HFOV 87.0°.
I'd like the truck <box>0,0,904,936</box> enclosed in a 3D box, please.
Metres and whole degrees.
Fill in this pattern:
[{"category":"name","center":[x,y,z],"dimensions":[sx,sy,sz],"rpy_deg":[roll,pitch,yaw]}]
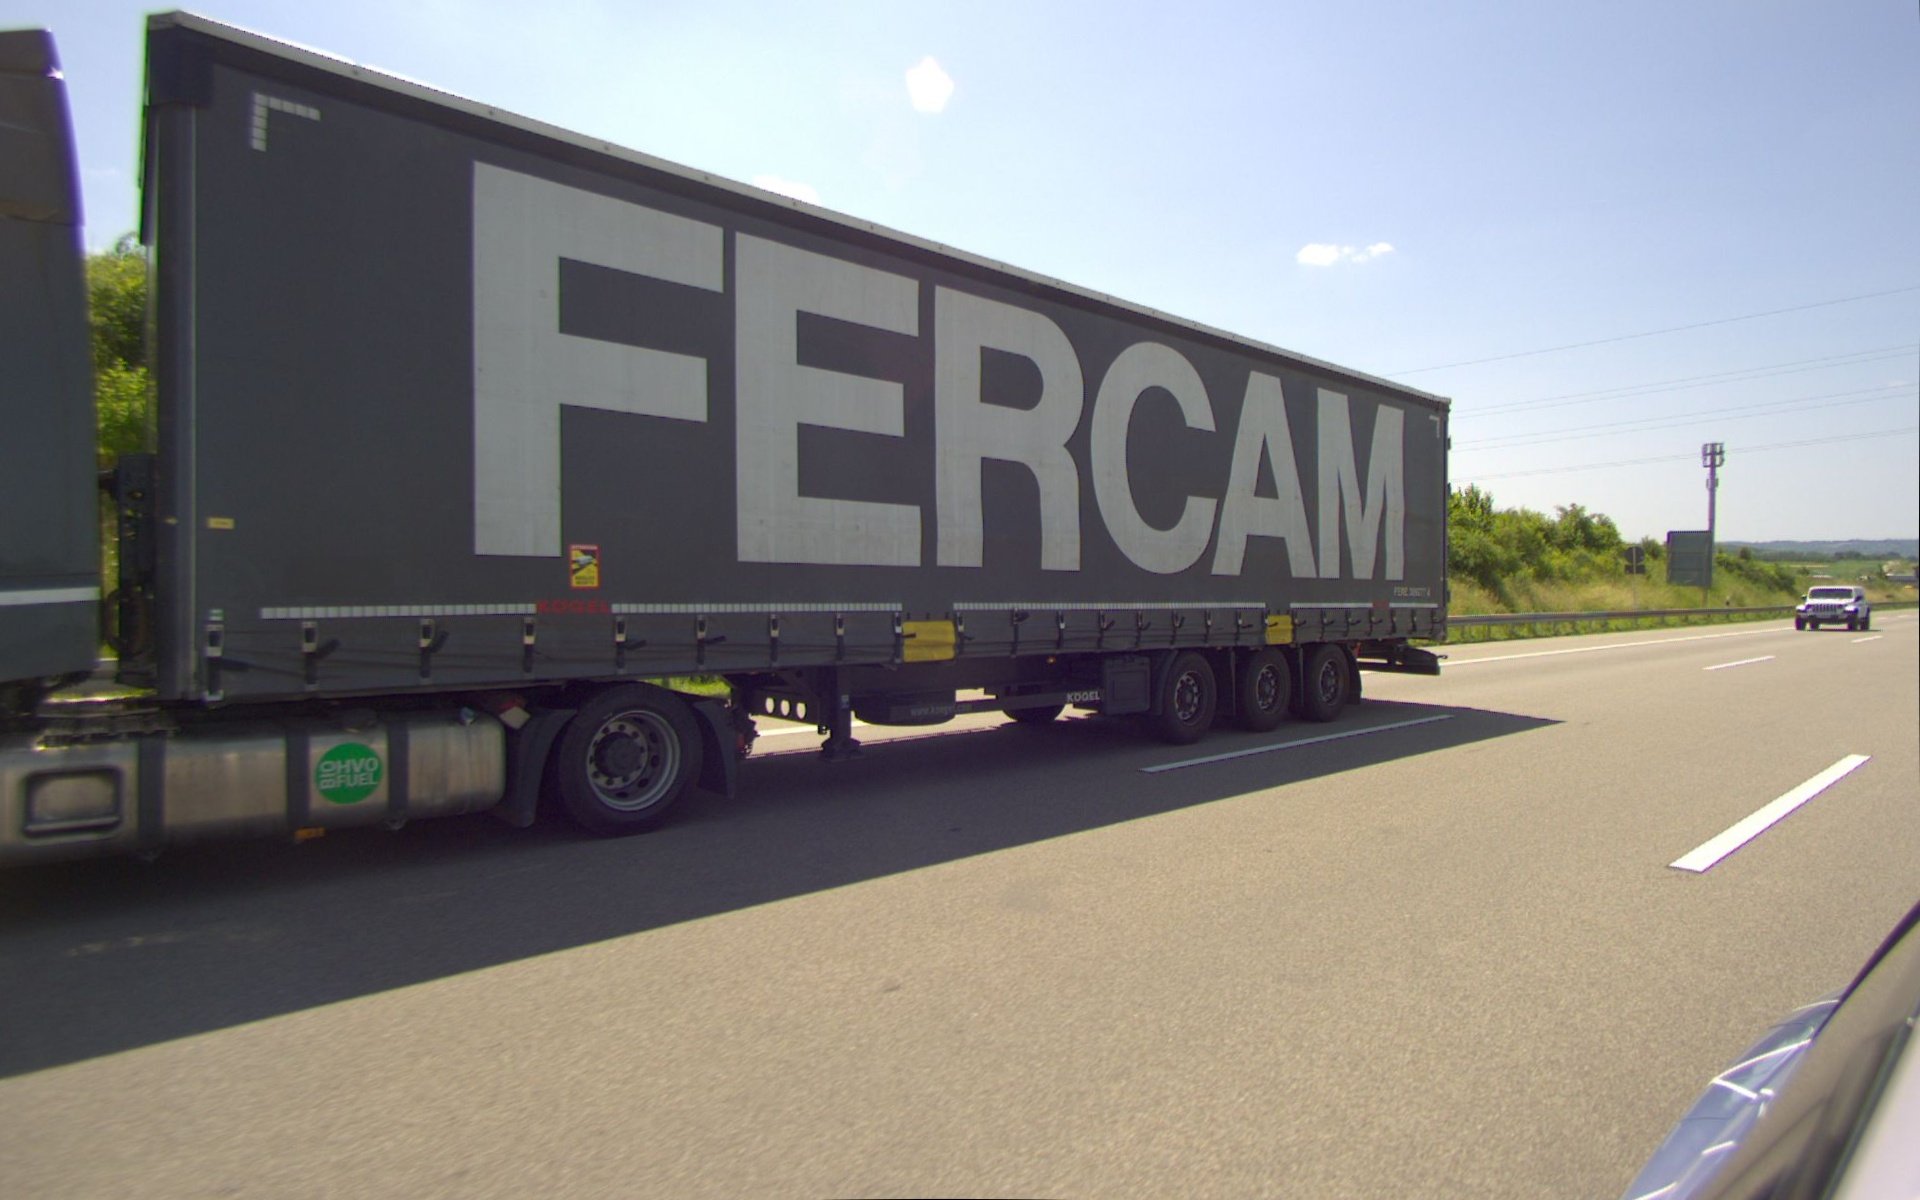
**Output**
[{"category":"truck","center":[-3.824,-0.692,6.024],"dimensions":[6.669,4.071,2.757],"rpy_deg":[-1,0,-40]}]

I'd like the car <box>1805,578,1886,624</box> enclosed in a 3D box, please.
[{"category":"car","center":[36.957,0.000,42.207],"dimensions":[4.177,1.827,2.037],"rpy_deg":[-1,1,-42]}]

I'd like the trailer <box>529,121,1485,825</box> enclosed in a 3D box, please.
[{"category":"trailer","center":[1.810,-0.853,10.904],"dimensions":[11.602,4.207,2.730],"rpy_deg":[-1,0,-41]}]
